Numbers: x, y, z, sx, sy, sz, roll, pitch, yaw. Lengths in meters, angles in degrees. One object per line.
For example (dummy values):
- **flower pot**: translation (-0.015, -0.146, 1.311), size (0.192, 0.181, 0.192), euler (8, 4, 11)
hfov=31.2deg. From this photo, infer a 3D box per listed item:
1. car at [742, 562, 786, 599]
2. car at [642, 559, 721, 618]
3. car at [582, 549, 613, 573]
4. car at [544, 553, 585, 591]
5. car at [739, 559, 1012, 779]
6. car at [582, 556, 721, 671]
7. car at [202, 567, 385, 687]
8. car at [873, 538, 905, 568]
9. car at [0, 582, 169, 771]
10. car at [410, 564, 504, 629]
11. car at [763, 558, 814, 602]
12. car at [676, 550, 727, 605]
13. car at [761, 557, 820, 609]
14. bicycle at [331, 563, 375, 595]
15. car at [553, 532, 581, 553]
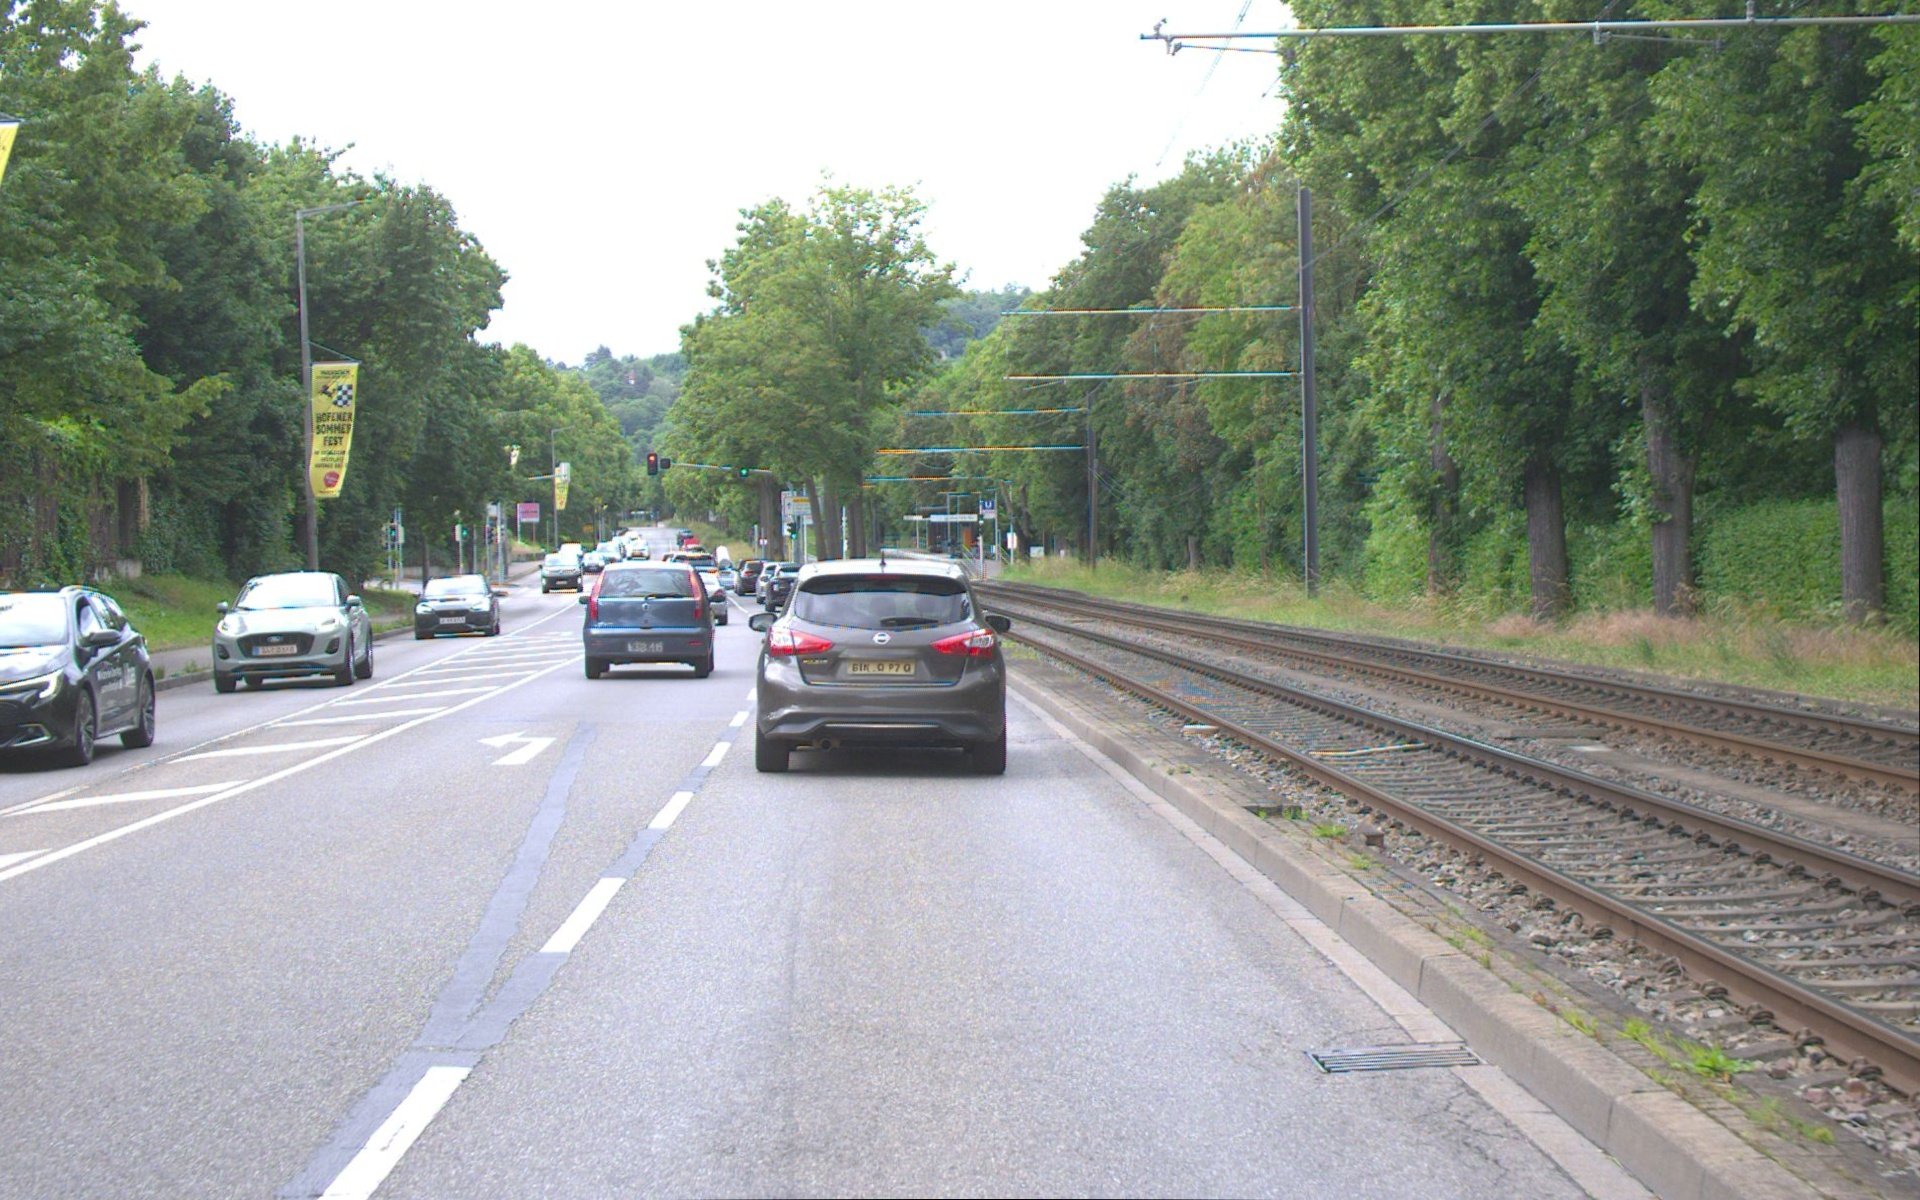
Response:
- **car**: translation (-8.137, -0.804, 142.954), size (1.715, 1.545, 4.000), euler (0, 0, -2)
- **car**: translation (-6.847, -0.295, 84.822), size (1.715, 1.430, 4.000), euler (0, 1, -2)
- **car**: translation (-23.685, -2.564, 224.980), size (1.715, 1.545, 4.000), euler (0, 0, -2)
- **car**: translation (-18.792, -1.319, 163.453), size (1.715, 1.754, 4.000), euler (0, 0, -4)
- **car**: translation (-0.604, 0.445, 25.398), size (1.850, 1.488, 4.000), euler (0, 1, -1)
- **car**: translation (-3.992, 0.141, 44.932), size (1.699, 1.438, 4.001), euler (0, 1, -4)
- **car**: translation (-8.976, 0.331, 46.613), size (1.826, 1.452, 4.143), euler (-3, 1, -3)
- **car**: translation (-4.070, -2.676, 197.253), size (1.715, 1.657, 3.708), euler (0, 0, -4)
- **car**: translation (-7.818, 0.602, 28.291), size (1.766, 1.395, 4.216), euler (-3, 1, -3)
- **car**: translation (-11.496, -0.096, 78.761), size (1.841, 1.371, 4.448), euler (-3, 1, -5)
- **car**: translation (-6.097, -0.716, 122.516), size (1.715, 1.545, 4.000), euler (0, 0, -2)
- **car**: translation (-8.896, -0.758, 118.318), size (1.715, 1.857, 4.000), euler (0, 0, -4)
- **car**: translation (-5.097, -0.508, 103.699), size (1.715, 1.545, 4.000), euler (0, 0, -2)
- **bicycle**: translation (-21.591, -0.746, 122.286), size (0.499, 1.104, 1.797), euler (0, 0, 29)
- **car**: translation (-29.579, -4.330, 258.851), size (1.715, 1.545, 4.000), euler (0, 0, -2)
